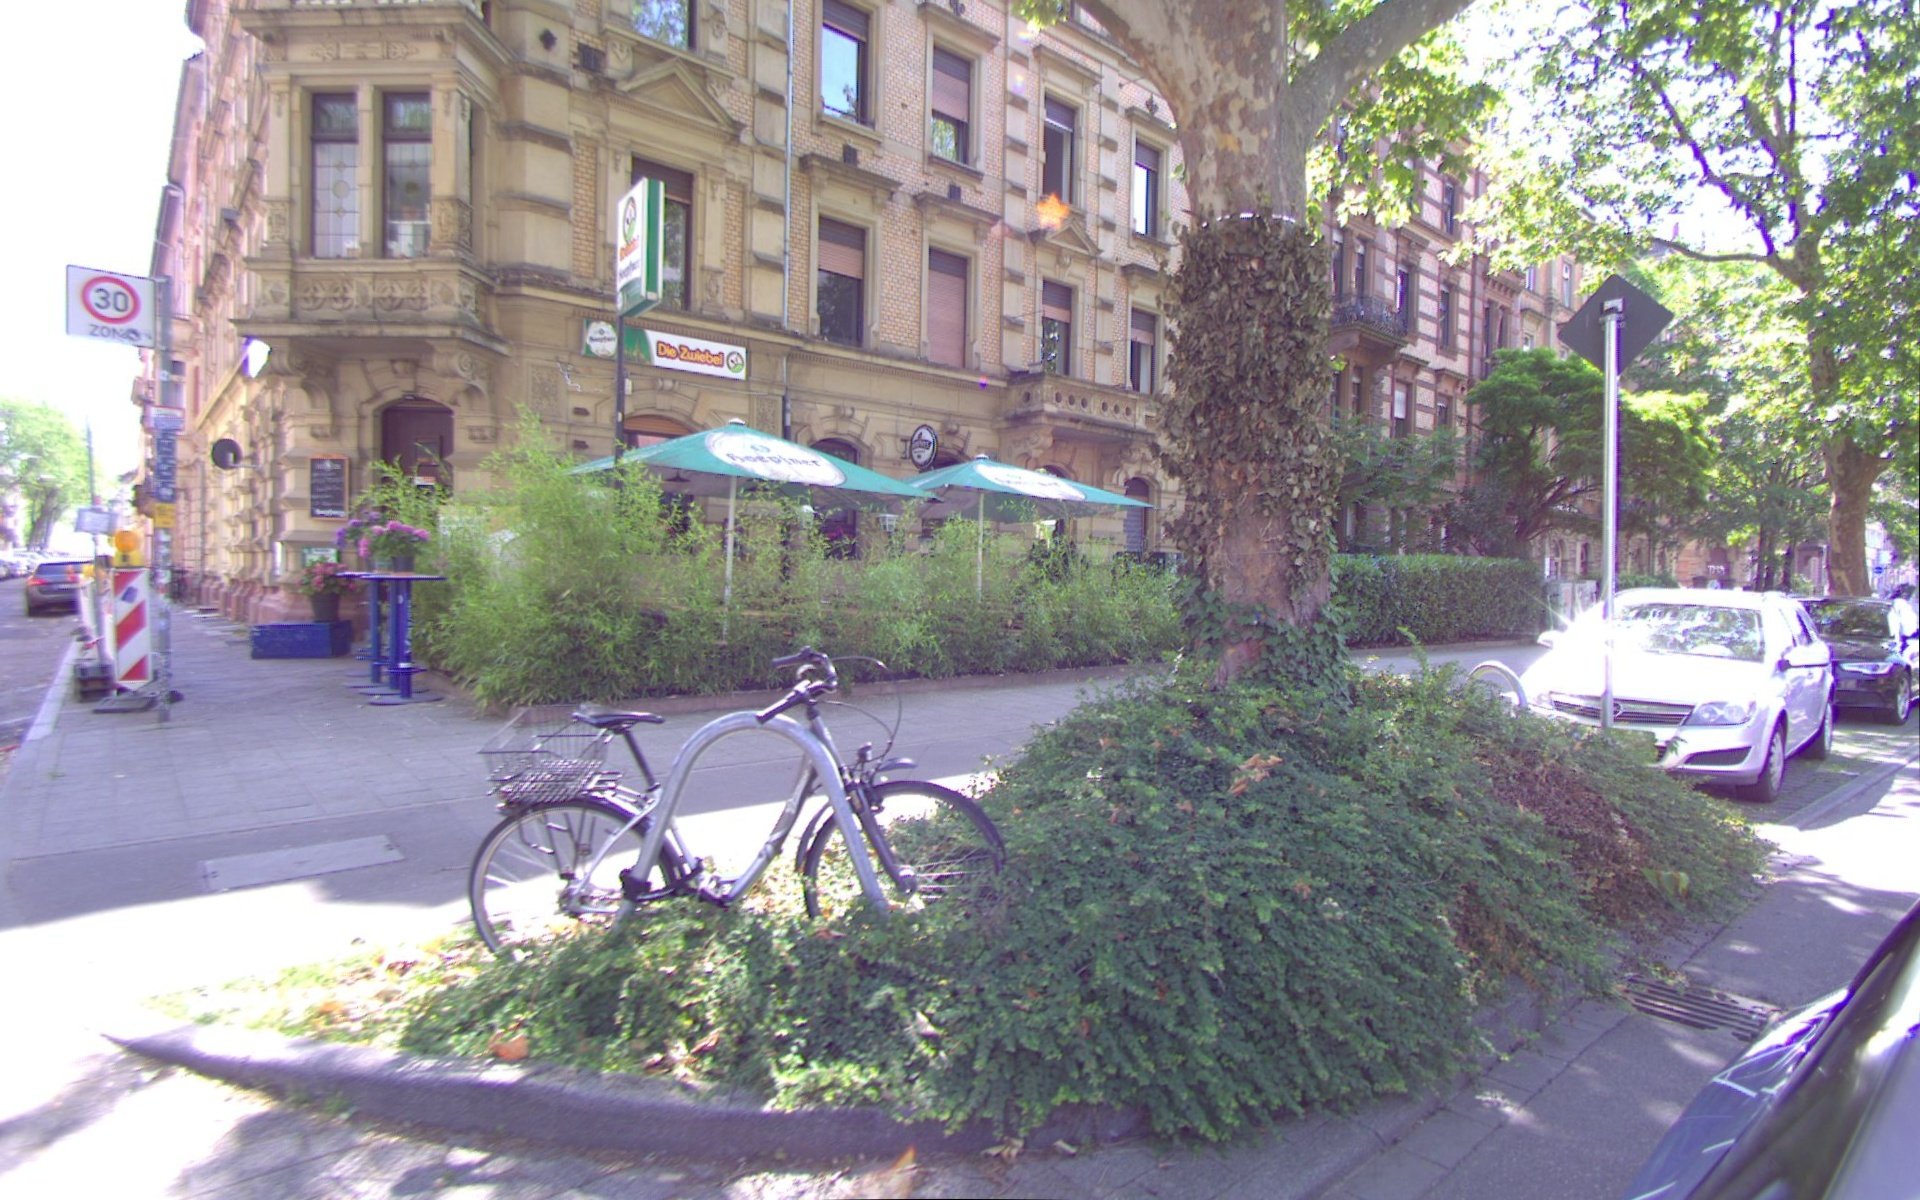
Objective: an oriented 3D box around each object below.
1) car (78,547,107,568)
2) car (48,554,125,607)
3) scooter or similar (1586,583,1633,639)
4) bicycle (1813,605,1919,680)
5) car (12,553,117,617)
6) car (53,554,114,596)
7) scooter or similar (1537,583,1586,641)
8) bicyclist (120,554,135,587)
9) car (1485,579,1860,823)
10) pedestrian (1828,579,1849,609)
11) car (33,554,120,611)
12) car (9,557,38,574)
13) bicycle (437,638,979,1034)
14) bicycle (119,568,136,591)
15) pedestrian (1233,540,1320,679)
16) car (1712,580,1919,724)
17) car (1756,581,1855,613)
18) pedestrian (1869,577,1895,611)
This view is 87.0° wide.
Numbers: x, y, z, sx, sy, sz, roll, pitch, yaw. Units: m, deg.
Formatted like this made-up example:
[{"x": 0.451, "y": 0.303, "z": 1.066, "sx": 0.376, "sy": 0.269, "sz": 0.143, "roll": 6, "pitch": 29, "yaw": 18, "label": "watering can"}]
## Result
[{"x": -77.982, "y": -3.808, "z": 91.007, "sx": 1.965, "sy": 1.760, "sz": 3.995, "roll": 0, "pitch": 2, "yaw": -41, "label": "car"}, {"x": -30.684, "y": -0.725, "z": 35.588, "sx": 1.965, "sy": 1.760, "sz": 3.995, "roll": 0, "pitch": 2, "yaw": -41, "label": "car"}, {"x": 15.603, "y": 0.250, "z": 24.305, "sx": 1.124, "sy": 1.298, "sz": 0.583, "roll": 0, "pitch": 2, "yaw": -39, "label": "scooter or similar"}, {"x": 14.519, "y": 0.664, "z": 15.895, "sx": 1.615, "sy": 1.102, "sz": 0.469, "roll": 1, "pitch": 1, "yaw": 17, "label": "bicycle"}, {"x": -23.754, "y": -0.446, "z": 26.941, "sx": 1.965, "sy": 1.571, "sz": 3.995, "roll": 0, "pitch": 2, "yaw": -41, "label": "car"}, {"x": -38.611, "y": -1.105, "z": 44.616, "sx": 1.965, "sy": 1.760, "sz": 3.995, "roll": 0, "pitch": 2, "yaw": -41, "label": "car"}, {"x": 13.483, "y": 0.251, "z": 22.670, "sx": 1.125, "sy": 1.263, "sz": 0.583, "roll": 0, "pitch": 2, "yaw": -40, "label": "scooter or similar"}, {"x": -37.757, "y": -1.346, "z": 45.906, "sx": 0.524, "sy": 1.471, "sz": 0.460, "roll": 0, "pitch": 1, "yaw": -43, "label": "bicyclist"}, {"x": 6.277, "y": 0.611, "z": 8.687, "sx": 4.418, "sy": 1.526, "sz": 1.835, "roll": -1, "pitch": 2, "yaw": -44, "label": "car"}, {"x": 52.708, "y": -0.355, "z": 60.686, "sx": 0.951, "sy": 1.740, "sz": 0.796, "roll": 0, "pitch": 1, "yaw": -41, "label": "pedestrian"}, {"x": -27.678, "y": -0.575, "z": 31.766, "sx": 1.965, "sy": 1.660, "sz": 3.995, "roll": 0, "pitch": 2, "yaw": -41, "label": "car"}, {"x": -79.805, "y": -2.916, "z": 86.270, "sx": 1.641, "sy": 1.419, "sz": 3.357, "roll": 0, "pitch": 2, "yaw": -40, "label": "car"}, {"x": -0.765, "y": 0.700, "z": 3.266, "sx": 1.583, "sy": 1.119, "sz": 0.423, "roll": 1, "pitch": 1, "yaw": -10, "label": "bicycle"}, {"x": -37.742, "y": -0.940, "z": 45.882, "sx": 0.530, "sy": 0.991, "sz": 1.307, "roll": 0, "pitch": 2, "yaw": -43, "label": "bicycle"}, {"x": 4.332, "y": 0.109, "z": 13.853, "sx": 0.837, "sy": 1.807, "sz": 0.737, "roll": 0, "pitch": 3, "yaw": -41, "label": "pedestrian"}, {"x": 11.580, "y": 0.539, "z": 13.210, "sx": 4.561, "sy": 1.526, "sz": 1.837, "roll": 0, "pitch": 2, "yaw": -40, "label": "car"}, {"x": 46.006, "y": -0.190, "z": 55.140, "sx": 4.077, "sy": 1.535, "sz": 1.860, "roll": 3, "pitch": 2, "yaw": 41, "label": "car"}, {"x": 47.985, "y": -0.313, "z": 52.671, "sx": 0.949, "sy": 1.740, "sz": 0.798, "roll": 0, "pitch": 1, "yaw": -34, "label": "pedestrian"}]
